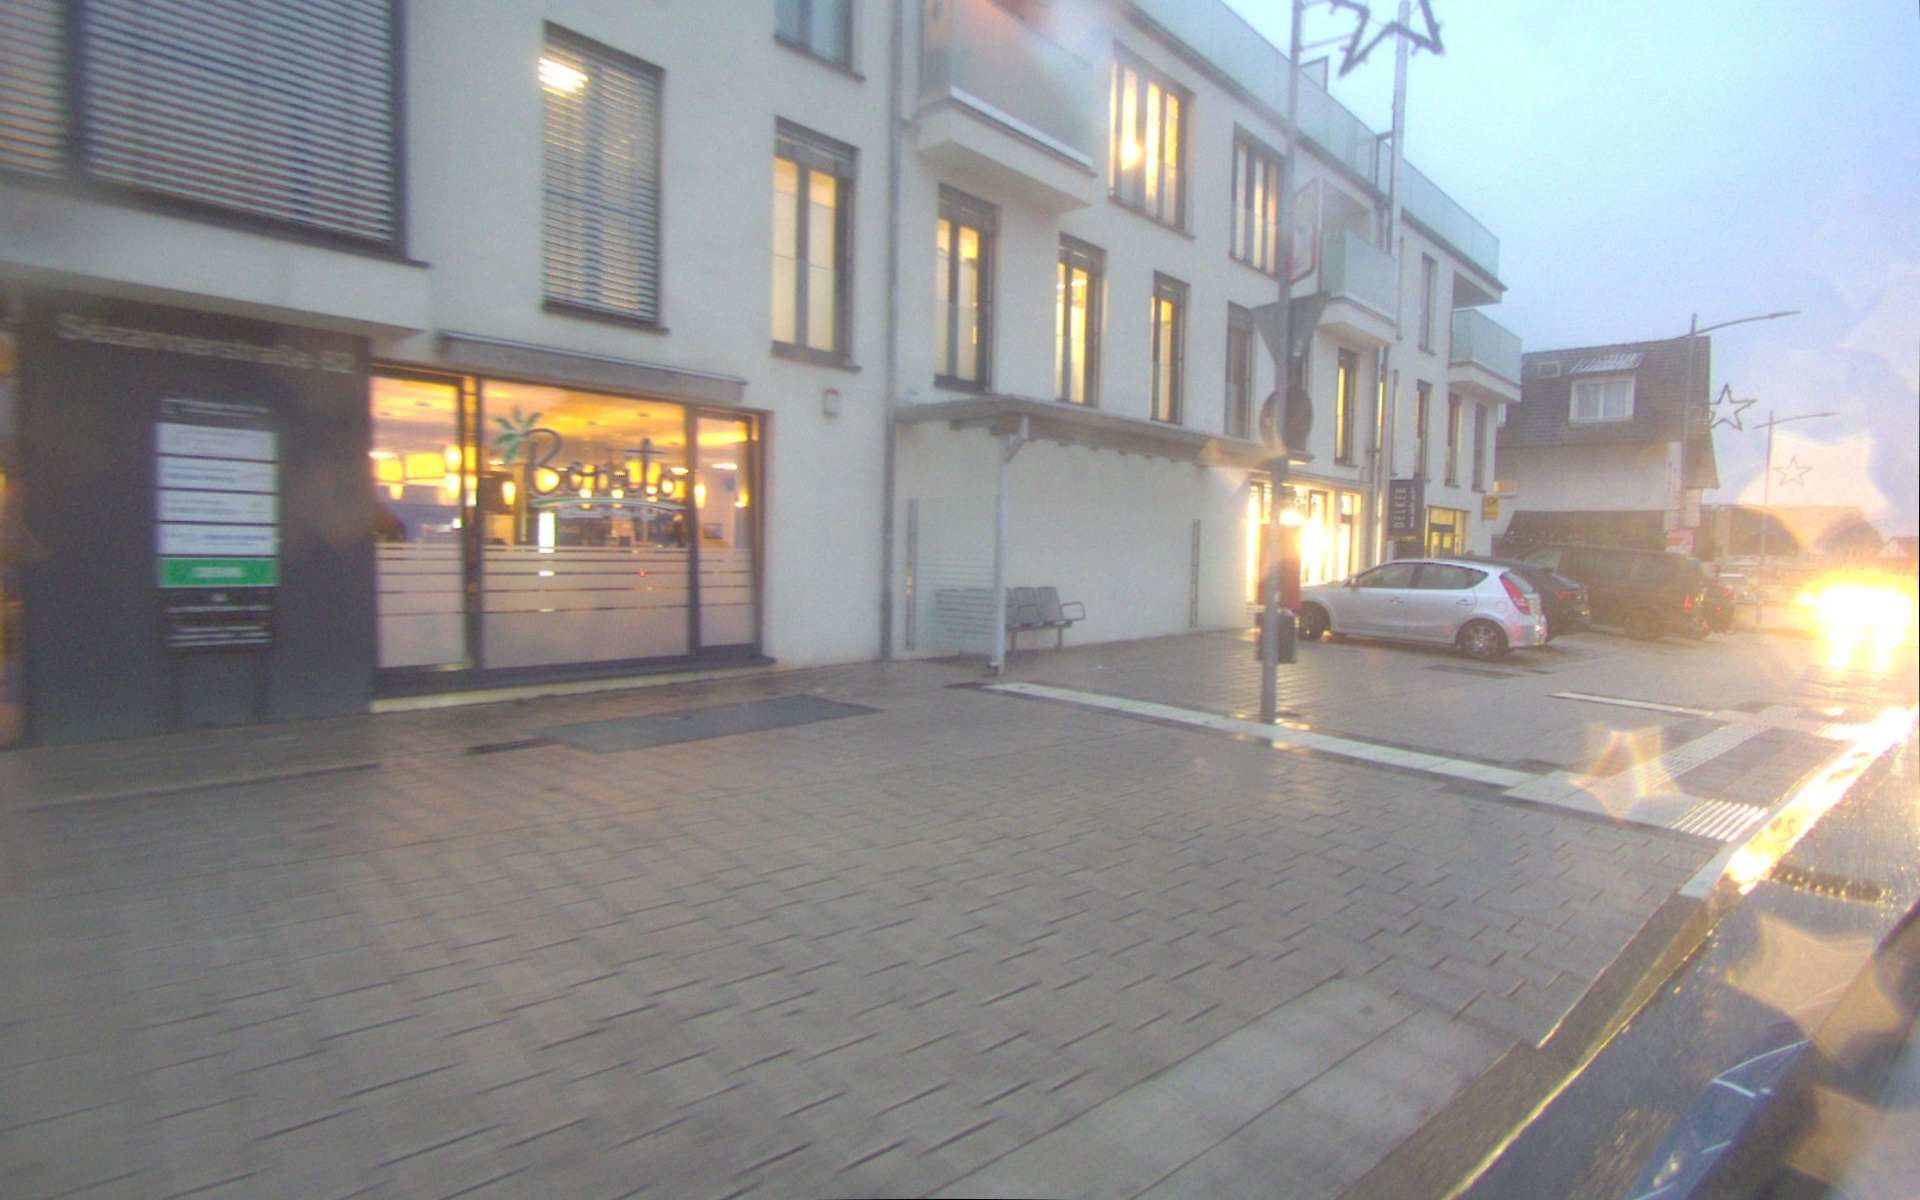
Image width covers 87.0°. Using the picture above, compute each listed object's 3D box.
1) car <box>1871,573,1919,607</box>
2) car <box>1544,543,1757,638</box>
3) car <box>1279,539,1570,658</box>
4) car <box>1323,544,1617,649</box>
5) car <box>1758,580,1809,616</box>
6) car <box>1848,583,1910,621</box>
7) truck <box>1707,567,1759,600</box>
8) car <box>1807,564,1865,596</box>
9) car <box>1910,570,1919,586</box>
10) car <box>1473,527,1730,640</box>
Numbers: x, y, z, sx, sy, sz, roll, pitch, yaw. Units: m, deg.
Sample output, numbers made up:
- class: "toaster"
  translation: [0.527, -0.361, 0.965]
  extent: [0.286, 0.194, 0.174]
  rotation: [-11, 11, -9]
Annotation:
- class: "car"
  translation: [59.115, -0.657, 63.371]
  extent: [1.981, 2.038, 3.963]
  rotation: [2, 2, 27]
- class: "car"
  translation: [17.418, -0.302, 25.682]
  extent: [4.136, 1.652, 1.731]
  rotation: [13, 8, 37]
- class: "car"
  translation: [7.515, -0.130, 16.548]
  extent: [3.979, 1.521, 1.790]
  rotation: [6, 6, 37]
- class: "car"
  translation: [9.454, -0.174, 18.992]
  extent: [4.509, 1.509, 1.945]
  rotation: [7, 6, 42]
- class: "car"
  translation: [40.626, -0.118, 49.988]
  extent: [1.840, 1.605, 3.716]
  rotation: [4, 3, 39]
- class: "car"
  translation: [40.456, 0.085, 44.608]
  extent: [1.827, 1.563, 3.661]
  rotation: [2, 1, 40]
- class: "truck"
  translation: [55.472, -1.242, 72.700]
  extent: [2.231, 2.258, 6.038]
  rotation: [2, 2, 31]
- class: "car"
  translation: [53.639, -1.239, 62.040]
  extent: [1.708, 1.835, 4.098]
  rotation: [2, 2, 27]
- class: "car"
  translation: [92.595, -2.043, 96.534]
  extent: [1.783, 1.486, 4.217]
  rotation: [3, 3, 27]
- class: "car"
  translation: [14.630, -0.458, 23.256]
  extent: [4.544, 1.956, 1.944]
  rotation: [10, 7, 42]
